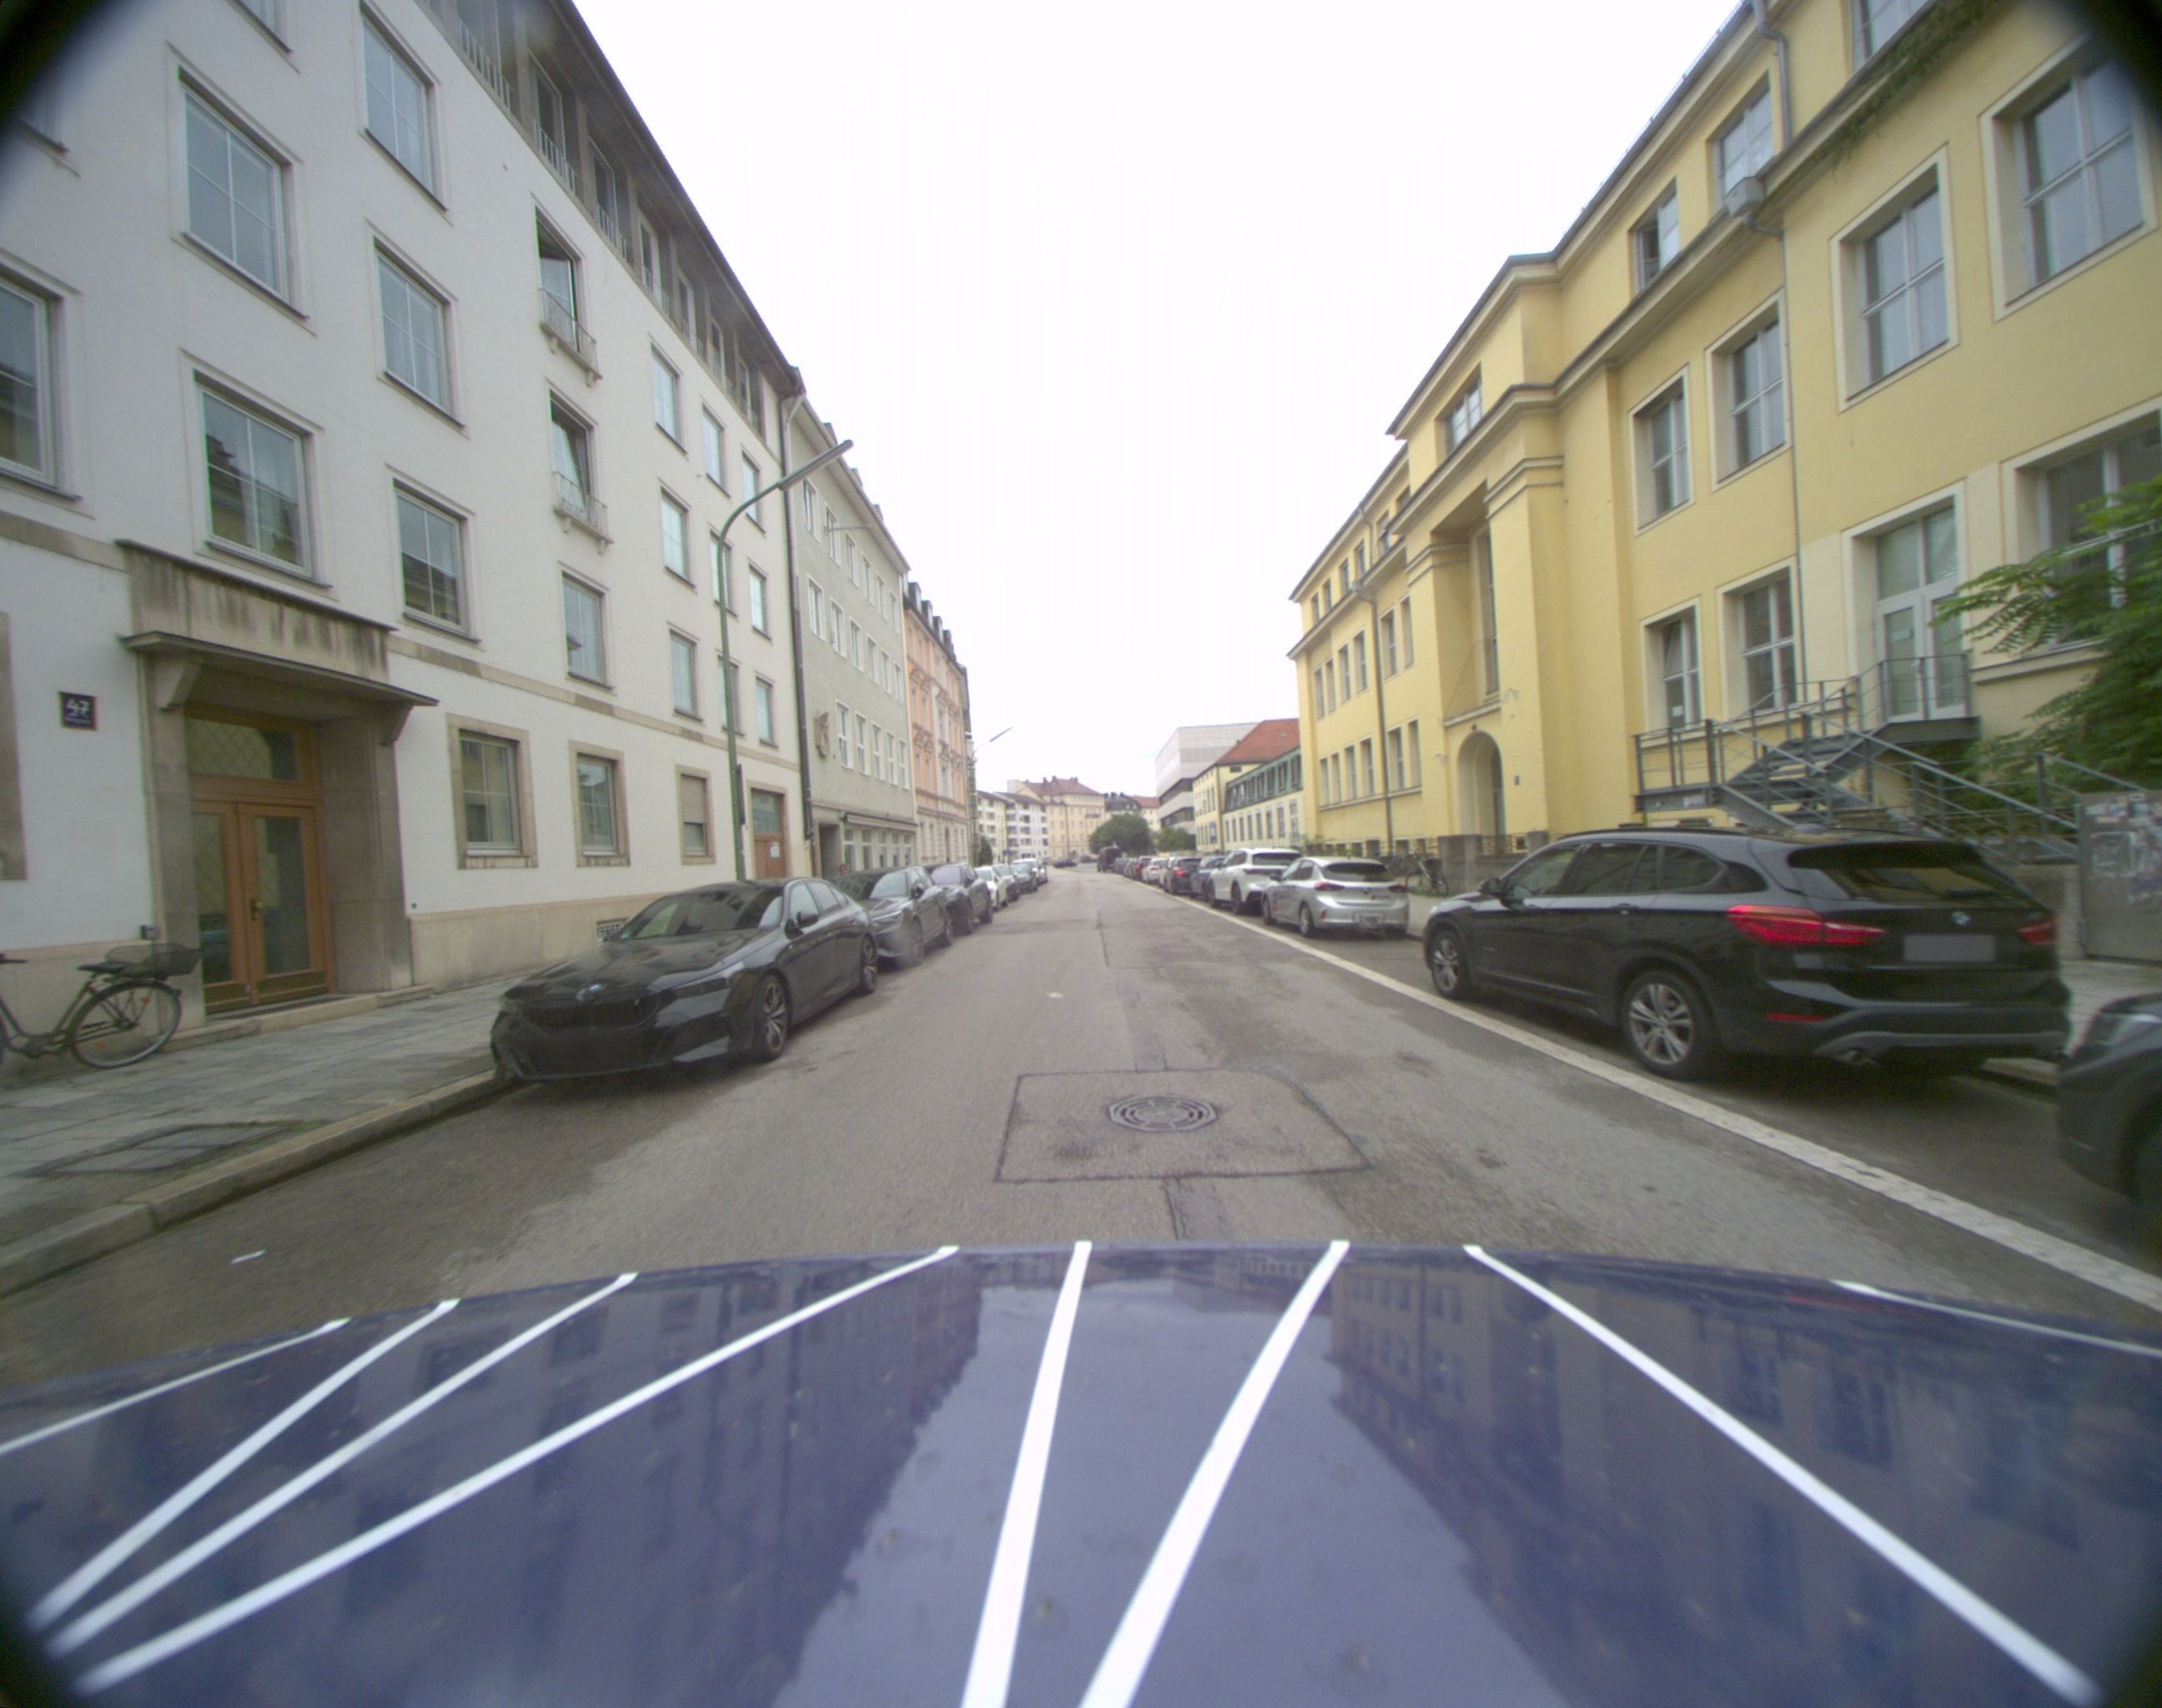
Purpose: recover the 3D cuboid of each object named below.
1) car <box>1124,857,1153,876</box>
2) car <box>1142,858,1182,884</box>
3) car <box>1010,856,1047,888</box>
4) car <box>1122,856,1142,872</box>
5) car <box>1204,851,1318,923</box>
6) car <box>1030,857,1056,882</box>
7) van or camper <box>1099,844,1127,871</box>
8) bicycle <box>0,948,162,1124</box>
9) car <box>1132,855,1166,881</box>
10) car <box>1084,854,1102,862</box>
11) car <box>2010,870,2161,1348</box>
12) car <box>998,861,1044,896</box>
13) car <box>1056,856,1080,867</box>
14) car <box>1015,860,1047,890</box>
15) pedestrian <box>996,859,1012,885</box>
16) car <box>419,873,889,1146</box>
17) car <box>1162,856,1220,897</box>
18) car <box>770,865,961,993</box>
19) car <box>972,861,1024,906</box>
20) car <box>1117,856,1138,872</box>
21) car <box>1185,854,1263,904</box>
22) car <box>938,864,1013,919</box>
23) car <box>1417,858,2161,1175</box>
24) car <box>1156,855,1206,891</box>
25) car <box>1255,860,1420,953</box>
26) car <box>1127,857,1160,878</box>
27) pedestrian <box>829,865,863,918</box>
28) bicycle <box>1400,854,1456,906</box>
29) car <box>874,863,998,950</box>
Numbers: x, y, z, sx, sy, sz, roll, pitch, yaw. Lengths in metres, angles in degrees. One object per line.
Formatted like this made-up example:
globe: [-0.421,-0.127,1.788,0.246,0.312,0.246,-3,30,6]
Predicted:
car: [4.379,0.965,58.108,1.798,1.396,4.127,0,0,-2]
car: [4.458,0.915,42.450,1.679,1.390,3.996,0,0,-2]
car: [-3.277,1.116,48.661,1.845,1.775,4.895,-6,0,0]
car: [4.583,0.920,68.546,1.699,1.396,4.001,0,0,2]
car: [4.476,0.765,19.535,1.684,1.624,4.356,1,0,-3]
car: [-2.670,1.068,53.752,1.608,1.632,3.631,-4,0,-1]
van or camper: [3.519,0.392,84.186,2.142,2.791,5.569,-2,0,-7]
bicycle: [-7.947,1.352,5.254,0.660,1.120,2.028,-2,0,0]
car: [4.255,0.875,48.021,1.679,1.557,3.996,0,0,-2]
car: [2.730,0.927,175.320,3.997,1.849,2.000,-2,0,1]
car: [4.420,0.821,0.786,1.786,1.529,4.148,0,0,-2]
car: [-2.914,1.179,37.699,1.696,1.442,4.083,-5,0,2]
car: [-2.367,1.454,139.595,4.248,1.849,1.999,-2,0,-5]
car: [-2.794,1.161,42.903,1.603,1.442,4.300,-5,0,-3]
pedestrian: [-4.907,1.145,48.478,0.863,1.652,0.647,-3,0,0]
car: [-3.460,1.106,7.503,1.861,1.535,4.815,-5,0,-1]
car: [4.244,0.815,29.774,1.684,1.487,3.985,0,0,0]
car: [-3.344,1.083,12.741,1.783,1.575,4.271,-5,0,1]
car: [-3.348,1.154,31.240,1.697,1.574,4.082,-5,0,-2]
car: [4.468,0.965,73.383,1.700,1.553,3.867,0,0,-2]
car: [4.578,0.757,24.907,1.684,1.496,3.973,0,0,-2]
car: [-3.361,1.156,24.925,1.696,1.455,4.083,-5,0,1]
car: [4.450,0.808,5.826,1.786,1.529,4.194,0,0,-2]
car: [4.563,0.832,35.179,1.727,1.518,4.087,1,0,0]
car: [4.574,0.861,14.171,1.684,1.417,3.894,1,0,-1]
car: [4.296,0.942,52.888,1.679,1.396,3.989,0,0,-4]
pedestrian: [-7.410,1.171,23.968,0.736,1.616,0.828,-2,0,1]
bicycle: [8.586,0.613,18.877,0.578,1.182,1.562,-6,0,1]
car: [-3.191,1.095,17.678,1.783,1.575,4.330,-5,0,2]
